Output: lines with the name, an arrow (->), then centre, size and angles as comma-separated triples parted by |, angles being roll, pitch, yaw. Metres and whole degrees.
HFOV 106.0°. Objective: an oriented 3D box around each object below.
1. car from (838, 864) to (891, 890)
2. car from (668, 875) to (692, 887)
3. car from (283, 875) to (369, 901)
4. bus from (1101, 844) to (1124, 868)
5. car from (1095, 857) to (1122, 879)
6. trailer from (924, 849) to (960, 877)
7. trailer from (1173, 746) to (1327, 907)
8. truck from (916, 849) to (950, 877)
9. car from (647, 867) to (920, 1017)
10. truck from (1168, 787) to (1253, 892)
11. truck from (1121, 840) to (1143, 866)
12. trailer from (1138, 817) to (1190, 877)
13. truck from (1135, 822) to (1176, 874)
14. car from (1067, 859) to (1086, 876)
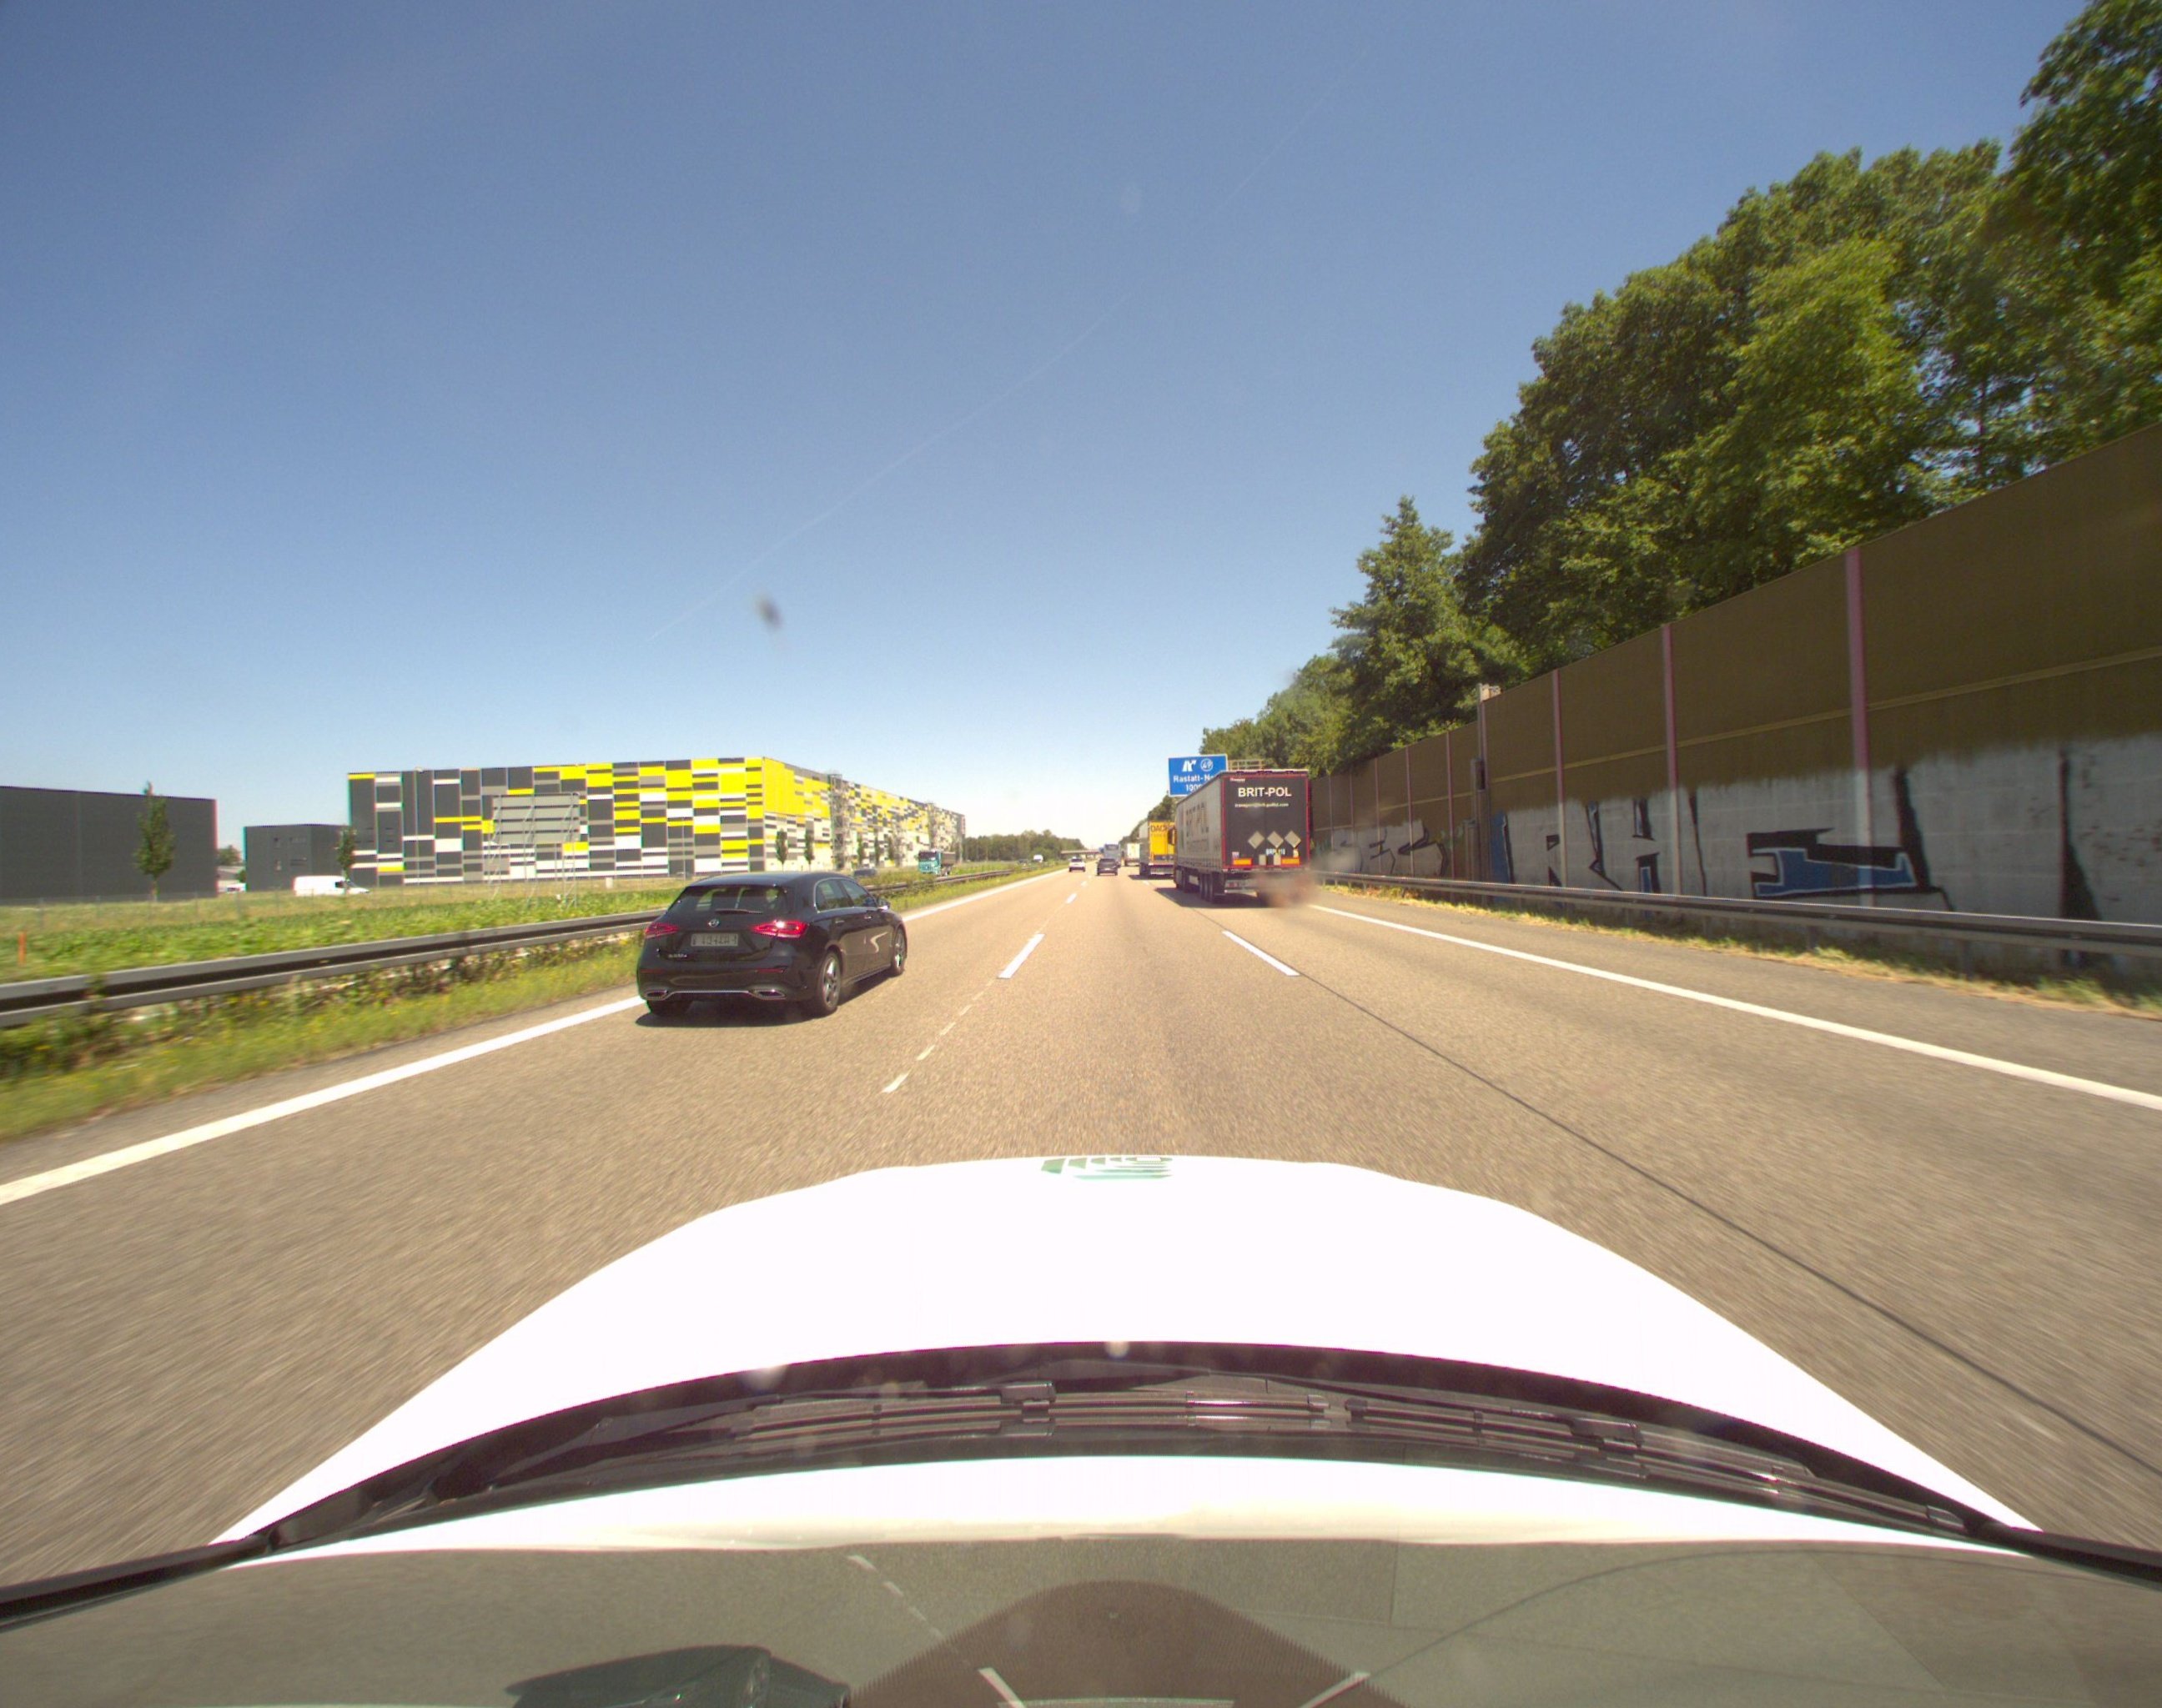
car -> -15.162, 1.576, 57.408 | 1.986, 1.639, 5.666 | -2, 0, 2
car -> -64.569, 4.329, 131.121 | 1.679, 1.727, 4.112 | -2, -1, 0
car -> -72.120, 3.212, 77.902 | 5.628, 2.178, 2.088 | -2, -1, -31
bus -> 4.613, 0.328, 120.911 | 3.052, 3.327, 8.273 | -2, -1, 0
car -> 2.356, 1.196, 71.201 | 2.208, 1.790, 5.394 | -2, -1, 1
trailer -> -17.340, 1.162, 102.178 | 2.665, 3.238, 9.262 | -1, -1, 2
trailer -> 5.593, -0.677, 30.407 | 3.094, 4.507, 14.901 | -1, -1, 2
truck -> -17.510, 1.078, 96.666 | 2.688, 3.250, 5.840 | -2, -1, 2
car -> -3.309, 0.888, 9.981 | 1.786, 1.412, 4.053 | 0, 0, 1
truck -> 5.779, -0.572, 37.361 | 3.076, 4.441, 6.054 | 0, -1, 1
truck -> 8.626, -0.071, 137.778 | 3.409, 4.126, 9.570 | -2, -1, 2
trailer -> 5.924, -0.427, 59.994 | 2.824, 3.954, 11.686 | -1, 0, 1
truck -> 6.067, -0.408, 67.228 | 2.803, 4.006, 6.646 | -1, -1, 1
car -> -0.463, 1.482, 90.647 | 1.987, 1.728, 4.131 | -1, -1, 1
